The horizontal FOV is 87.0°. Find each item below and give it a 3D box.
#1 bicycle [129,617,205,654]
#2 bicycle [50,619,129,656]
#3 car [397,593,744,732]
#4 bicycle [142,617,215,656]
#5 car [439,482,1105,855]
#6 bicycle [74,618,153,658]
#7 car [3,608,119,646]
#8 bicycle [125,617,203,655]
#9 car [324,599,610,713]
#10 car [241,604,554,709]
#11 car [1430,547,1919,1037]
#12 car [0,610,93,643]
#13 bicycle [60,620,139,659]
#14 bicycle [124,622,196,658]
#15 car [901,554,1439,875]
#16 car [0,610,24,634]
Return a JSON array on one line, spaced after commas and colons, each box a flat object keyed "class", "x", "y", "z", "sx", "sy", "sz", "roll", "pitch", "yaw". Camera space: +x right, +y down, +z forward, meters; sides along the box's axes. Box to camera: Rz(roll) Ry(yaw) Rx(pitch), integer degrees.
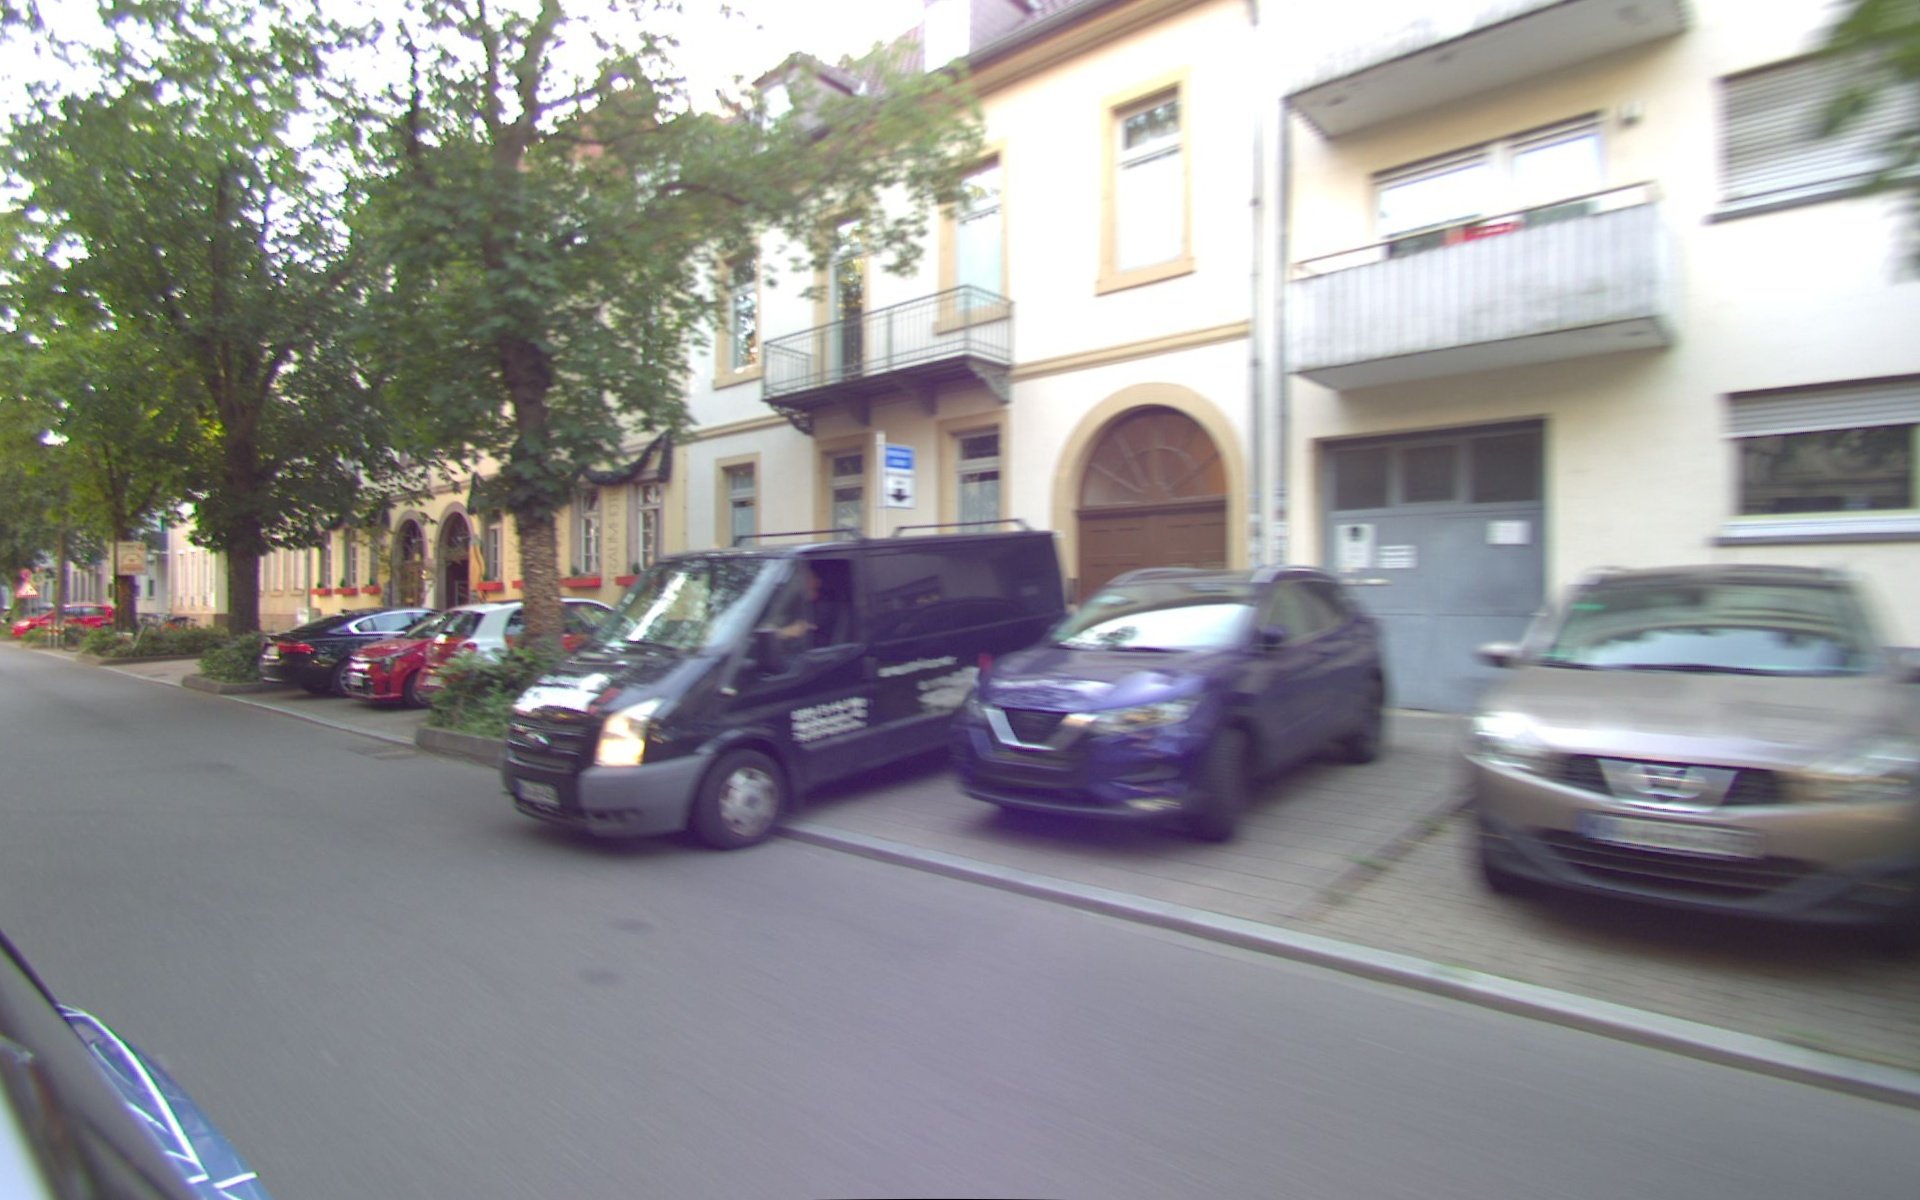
[{"class": "bicycle", "x": -25.449, "y": 1.117, "z": 32.500, "sx": 0.508, "sy": 1.107, "sz": 1.847, "roll": 0, "pitch": 1, "yaw": 35}, {"class": "bicycle", "x": -27.839, "y": 1.187, "z": 32.388, "sx": 0.479, "sy": 1.106, "sz": 1.847, "roll": 0, "pitch": 1, "yaw": 35}, {"class": "car", "x": -5.410, "y": 0.748, "z": 14.527, "sx": 1.771, "sy": 1.550, "sz": 4.309, "roll": 1, "pitch": 2, "yaw": 41}, {"class": "bicycle", "x": -23.910, "y": 1.112, "z": 31.000, "sx": 0.479, "sy": 1.107, "sz": 1.692, "roll": 0, "pitch": 1, "yaw": 35}, {"class": "car", "x": -1.124, "y": 0.398, "z": 8.046, "sx": 2.188, "sy": 2.006, "sz": 4.938, "roll": -1, "pitch": -1, "yaw": 41}, {"class": "bicycle", "x": -26.671, "y": 1.182, "z": 31.921, "sx": 0.479, "sy": 1.153, "sz": 1.847, "roll": 0, "pitch": 1, "yaw": 35}, {"class": "car", "x": -38.288, "y": 1.125, "z": 43.158, "sx": 1.671, "sy": 1.416, "sz": 3.454, "roll": -1, "pitch": 1, "yaw": 39}, {"class": "bicycle", "x": -25.052, "y": 1.107, "z": 31.876, "sx": 0.479, "sy": 1.107, "sz": 1.847, "roll": 0, "pitch": 1, "yaw": 35}, {"class": "car", "x": -7.601, "y": 0.774, "z": 15.828, "sx": 1.659, "sy": 1.460, "sz": 3.646, "roll": -1, "pitch": 1, "yaw": 41}, {"class": "car", "x": -9.470, "y": 0.853, "z": 17.372, "sx": 1.716, "sy": 1.417, "sz": 4.382, "roll": 1, "pitch": 2, "yaw": 38}, {"class": "car", "x": 4.063, "y": 0.563, "z": 5.271, "sx": 1.823, "sy": 1.603, "sz": 4.111, "roll": -1, "pitch": 2, "yaw": 41}, {"class": "car", "x": -44.734, "y": 1.282, "z": 49.304, "sx": 1.589, "sy": 1.430, "sz": 3.508, "roll": -1, "pitch": 1, "yaw": 39}, {"class": "bicycle", "x": -27.245, "y": 1.236, "z": 32.081, "sx": 0.479, "sy": 1.107, "sz": 1.847, "roll": 0, "pitch": 1, "yaw": 35}, {"class": "bicycle", "x": -26.884, "y": 1.318, "z": 34.041, "sx": 0.479, "sy": 1.107, "sz": 1.847, "roll": 0, "pitch": 1, "yaw": 35}, {"class": "car", "x": 1.790, "y": 0.512, "z": 7.351, "sx": 1.930, "sy": 1.584, "sz": 4.309, "roll": -1, "pitch": 2, "yaw": 41}, {"class": "car", "x": -58.835, "y": 1.394, "z": 60.902, "sx": 1.590, "sy": 1.430, "sz": 3.506, "roll": -1, "pitch": 1, "yaw": 42}]
